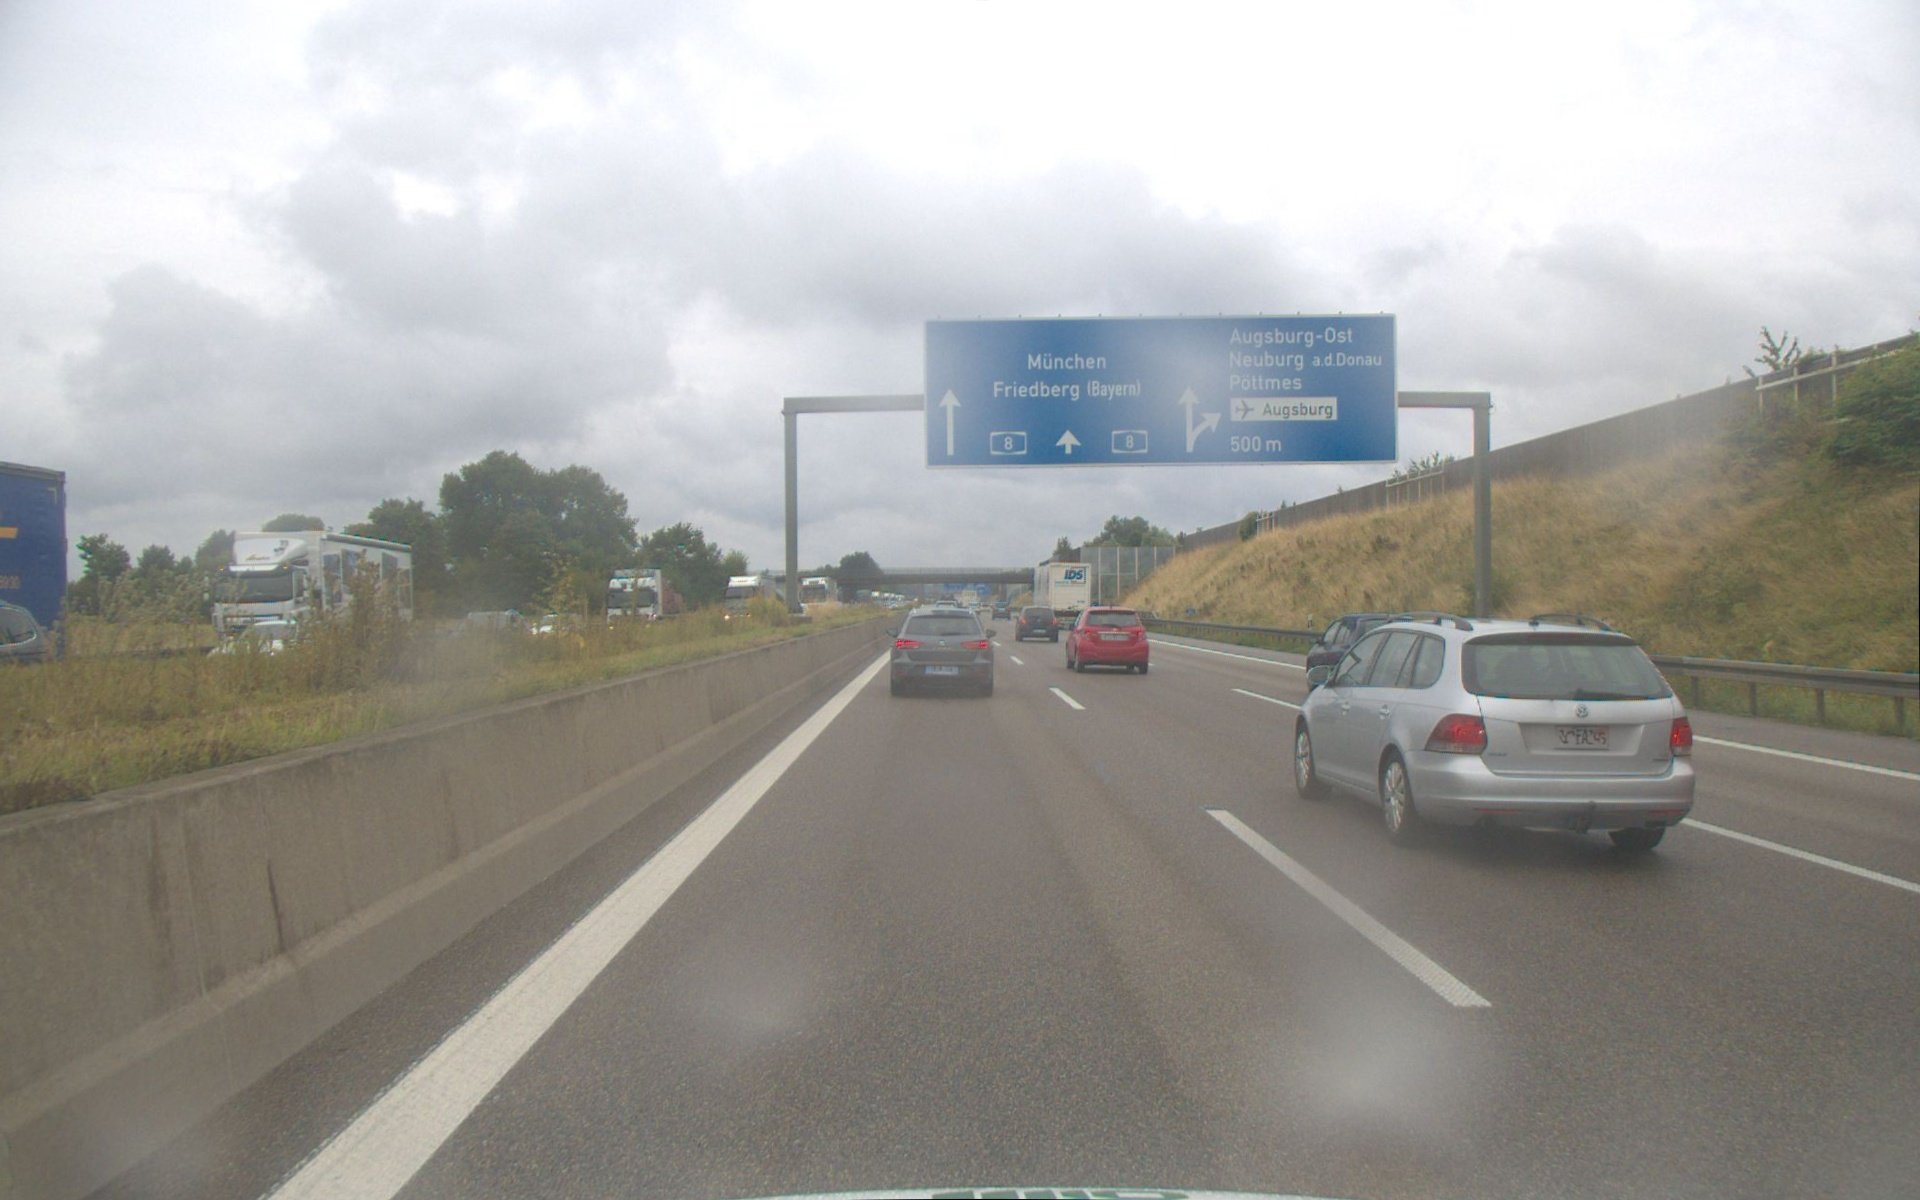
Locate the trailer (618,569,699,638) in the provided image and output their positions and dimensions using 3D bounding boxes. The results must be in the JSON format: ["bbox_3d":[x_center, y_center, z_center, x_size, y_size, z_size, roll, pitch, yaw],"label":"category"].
[{"bbox_3d":[-17.749,0.080,98.188,2.587,3.790,12.193,1,1,0],"label":"trailer"}]

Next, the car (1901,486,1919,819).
[{"bbox_3d":[7.913,0.376,8.878,2.044,2.355,6.179,0,0,-2],"label":"car"}]

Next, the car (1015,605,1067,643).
[{"bbox_3d":[3.368,0.983,69.361,1.882,1.548,4.621,0,0,-1],"label":"car"}]

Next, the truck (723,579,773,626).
[{"bbox_3d":[-13.733,0.193,107.619,2.264,2.959,7.423,1,-1,0],"label":"truck"}]

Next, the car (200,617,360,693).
[{"bbox_3d":[-16.274,1.264,39.877,1.844,1.644,5.013,-1,0,-1],"label":"car"}]

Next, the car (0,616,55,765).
[{"bbox_3d":[-12.682,1.125,19.503,1.828,1.816,3.999,-1,0,-1],"label":"car"}]

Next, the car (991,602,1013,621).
[{"bbox_3d":[3.942,1.080,155.514,1.808,1.716,3.999,1,-1,-1],"label":"car"}]

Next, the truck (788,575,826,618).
[{"bbox_3d":[-14.648,-0.293,158.920,3.029,4.045,6.371,1,-1,0],"label":"truck"}]

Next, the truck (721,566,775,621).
[{"bbox_3d":[-17.589,-0.500,137.732,3.541,4.349,7.590,1,-1,0],"label":"truck"}]

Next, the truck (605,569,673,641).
[{"bbox_3d":[-17.739,0.220,91.705,2.587,3.790,5.871,1,1,0],"label":"truck"}]

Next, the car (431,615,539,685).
[{"bbox_3d":[-12.569,1.289,43.995,1.718,1.737,4.000,-1,0,0],"label":"car"}]

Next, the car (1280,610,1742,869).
[{"bbox_3d":[3.608,0.814,11.766,1.706,1.450,4.516,-1,0,-1],"label":"car"}]

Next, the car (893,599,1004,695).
[{"bbox_3d":[-0.247,0.767,28.237,1.733,1.493,3.998,1,-1,-2],"label":"car"}]

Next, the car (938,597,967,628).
[{"bbox_3d":[-0.499,0.780,104.582,1.670,1.828,3.853,-2,0,-2],"label":"car"}]

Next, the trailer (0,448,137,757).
[{"bbox_3d":[-16.686,0.017,24.562,3.319,4.852,11.677,1,0,-2],"label":"trailer"}]

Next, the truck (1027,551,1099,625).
[{"bbox_3d":[6.624,-0.636,109.661,3.216,4.370,19.028,1,-1,-1],"label":"truck"}]

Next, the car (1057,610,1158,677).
[{"bbox_3d":[3.423,0.981,39.196,1.853,1.472,4.683,0,0,-2],"label":"car"}]

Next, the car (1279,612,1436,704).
[{"bbox_3d":[6.687,0.938,28.190,1.668,1.426,3.874,1,-1,-1],"label":"car"}]

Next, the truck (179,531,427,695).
[{"bbox_3d":[-20.334,0.423,52.291,3.441,4.562,11.782,1,-1,-2],"label":"truck"}]

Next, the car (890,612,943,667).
[{"bbox_3d":[-1.463,1.316,56.019,1.718,1.780,3.999,1,-1,-1],"label":"car"}]

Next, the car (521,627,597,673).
[{"bbox_3d":[-16.628,2.045,68.837,1.953,1.747,4.836,1,-1,0],"label":"car"}]
